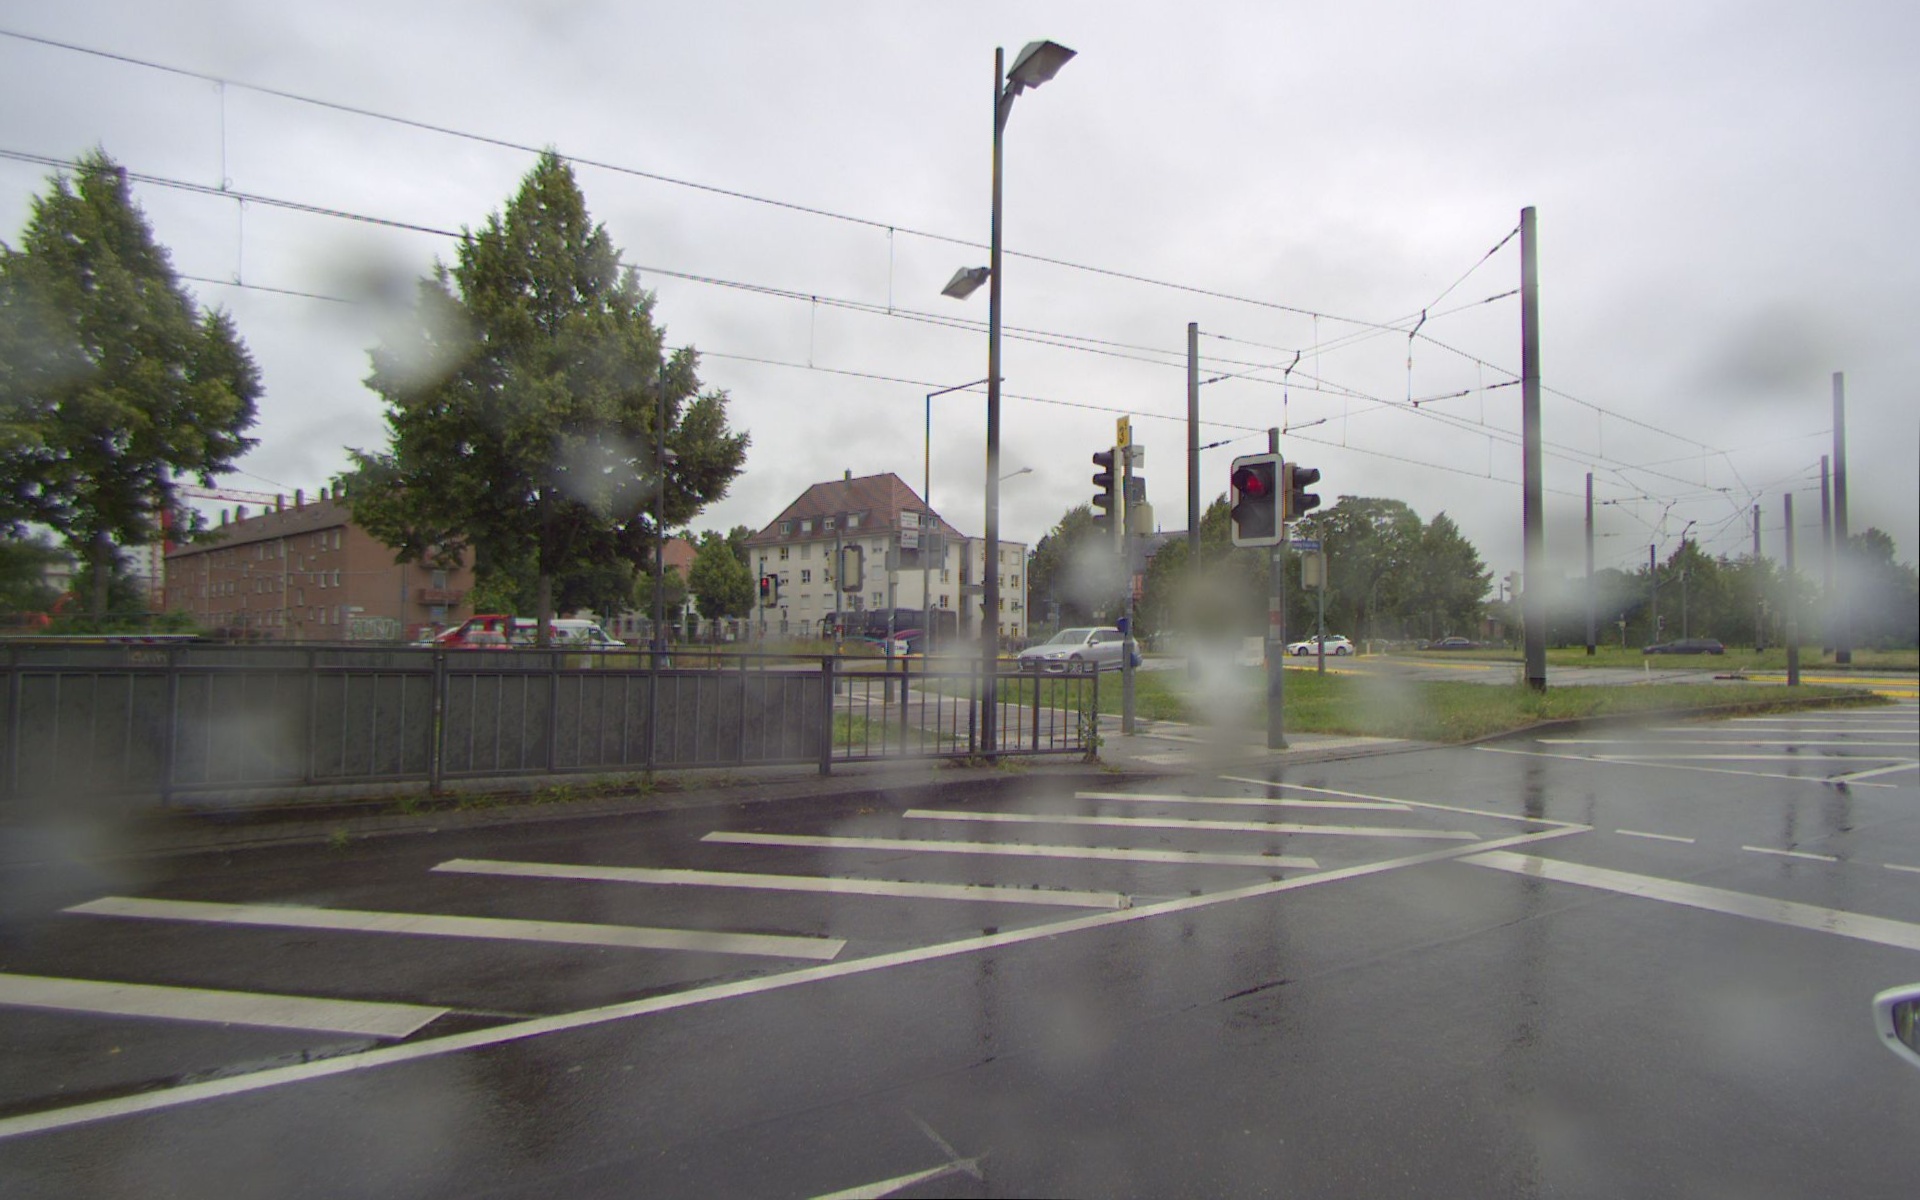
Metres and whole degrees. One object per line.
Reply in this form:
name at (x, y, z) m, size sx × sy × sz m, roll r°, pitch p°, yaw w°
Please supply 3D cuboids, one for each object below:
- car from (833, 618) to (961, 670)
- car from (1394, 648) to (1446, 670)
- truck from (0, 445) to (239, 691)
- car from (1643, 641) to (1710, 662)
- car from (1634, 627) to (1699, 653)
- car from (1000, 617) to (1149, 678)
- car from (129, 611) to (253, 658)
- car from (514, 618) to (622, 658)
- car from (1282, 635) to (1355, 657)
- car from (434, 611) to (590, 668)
car at (-5.116, 3.370, 79.368) m, size 10.776 × 3.770 × 2.451 m, roll 0°, pitch -2°, yaw 34°
car at (35.607, 4.549, 77.822) m, size 3.427 × 1.563 × 1.616 m, roll 2°, pitch 0°, yaw -17°
truck at (-17.126, -0.567, 15.822) m, size 9.083 × 3.828 × 2.672 m, roll 2°, pitch 0°, yaw -33°
car at (52.911, 3.808, 74.269) m, size 3.920 × 1.473 × 1.619 m, roll -1°, pitch -2°, yaw 34°
car at (55.657, 3.134, 79.129) m, size 3.921 × 1.840 × 1.681 m, roll 2°, pitch 0°, yaw -1°
car at (3.420, 1.358, 29.411) m, size 4.371 × 1.649 × 1.976 m, roll 2°, pitch -2°, yaw -42°
car at (-43.549, 1.976, 57.085) m, size 5.441 × 2.485 × 1.980 m, roll 2°, pitch 0°, yaw -36°
car at (-23.690, 2.288, 60.911) m, size 6.004 × 2.308 × 1.617 m, roll 1°, pitch -2°, yaw -18°
car at (25.266, 3.242, 70.882) m, size 4.530 × 1.473 × 1.624 m, roll 0°, pitch -1°, yaw 3°
car at (-20.391, 1.784, 46.068) m, size 6.389 × 2.503 × 1.616 m, roll 1°, pitch -1°, yaw -20°
